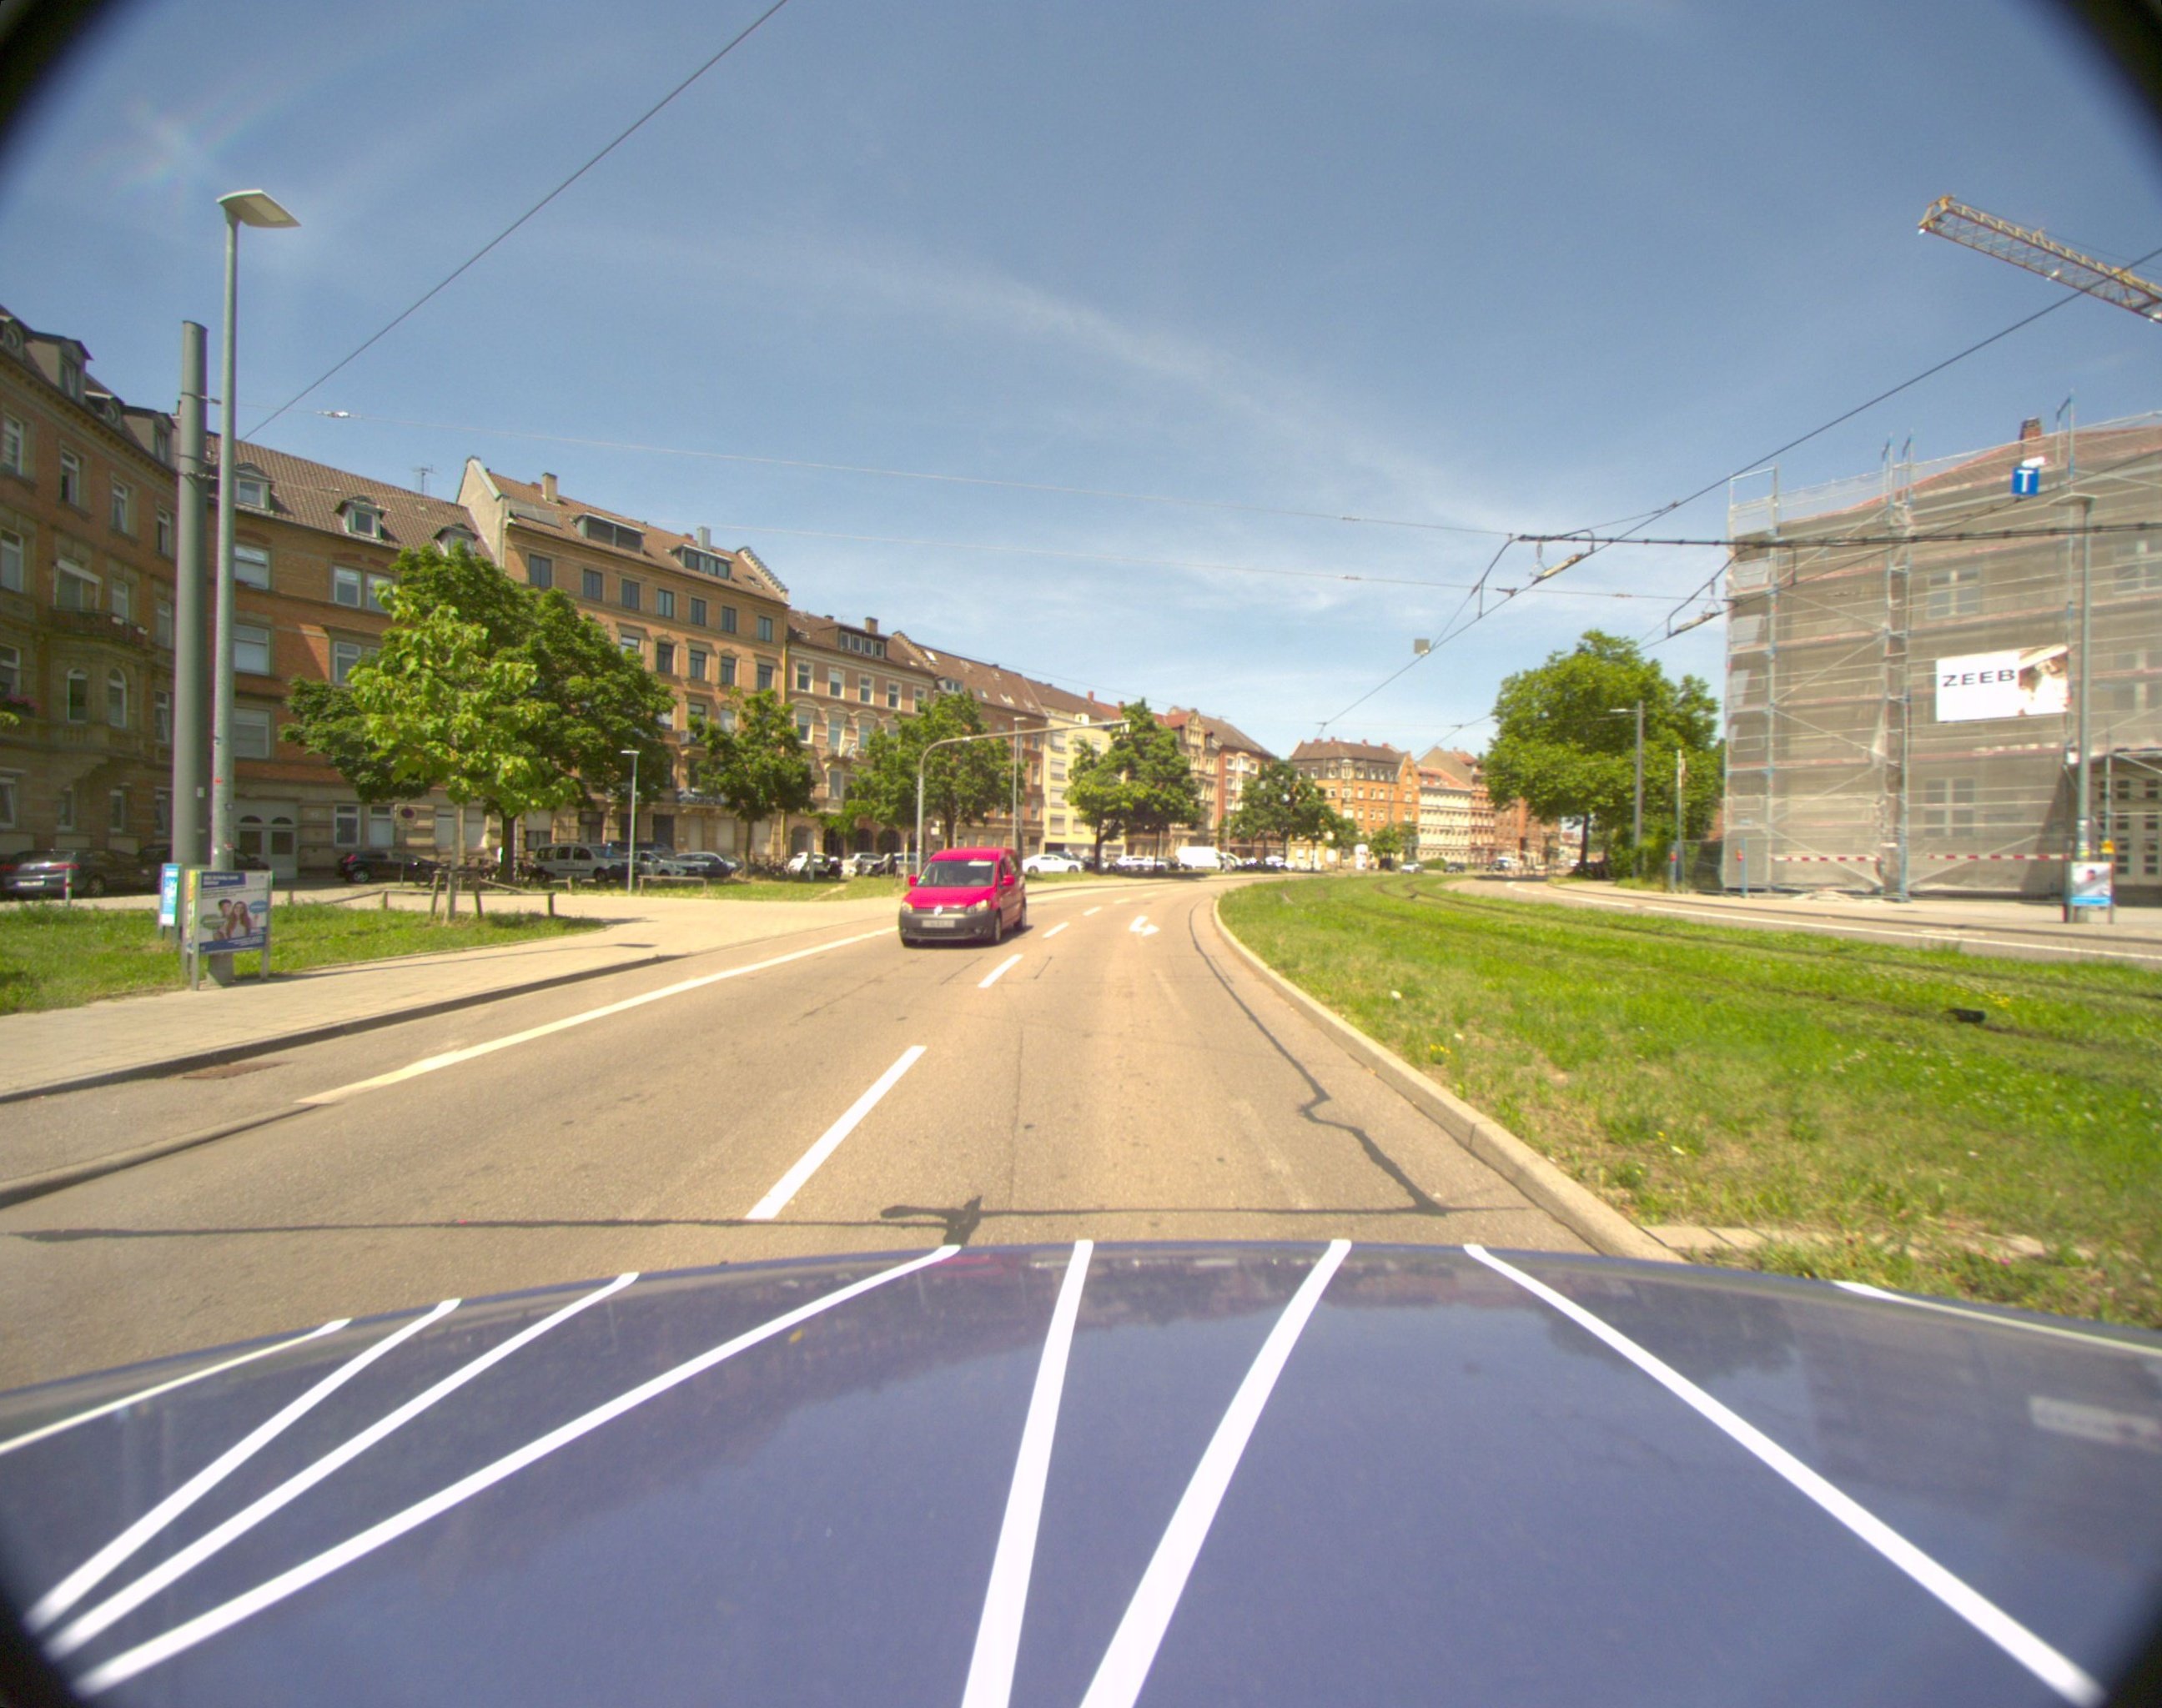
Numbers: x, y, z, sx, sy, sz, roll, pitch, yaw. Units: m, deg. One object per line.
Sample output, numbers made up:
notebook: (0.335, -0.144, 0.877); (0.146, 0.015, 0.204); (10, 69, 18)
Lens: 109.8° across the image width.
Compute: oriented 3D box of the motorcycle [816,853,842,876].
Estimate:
motorcycle: (-14.345, 0.592, 43.189); (0.814, 1.229, 2.080); (0, 0, -35)

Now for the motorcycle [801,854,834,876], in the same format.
motorcycle: (-13.356, 0.549, 38.479); (1.823, 1.113, 0.529); (-1, 0, 33)

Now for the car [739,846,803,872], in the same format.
car: (-17.035, 0.309, 41.659); (1.961, 1.368, 3.989); (0, -1, -43)

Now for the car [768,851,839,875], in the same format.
car: (-18.325, 0.569, 50.321); (1.837, 1.521, 4.009); (-1, -1, 41)

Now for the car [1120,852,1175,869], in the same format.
car: (5.765, 0.565, 66.584); (4.688, 1.419, 1.973); (-1, -1, 3)

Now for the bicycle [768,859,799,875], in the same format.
bicycle: (-15.140, 0.653, 38.700); (1.457, 0.800, 0.498); (0, 0, -16)

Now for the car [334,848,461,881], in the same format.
car: (-30.763, 0.470, 34.291); (1.772, 1.411, 4.009); (-1, -1, 38)

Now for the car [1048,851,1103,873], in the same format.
car: (-0.404, 0.607, 59.792); (3.993, 1.652, 1.974); (-1, 0, 12)

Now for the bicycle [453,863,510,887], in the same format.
bicycle: (-23.792, 0.847, 30.162); (2.047, 0.930, 0.509); (-1, 0, 9)

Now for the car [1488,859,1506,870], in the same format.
car: (62.602, 1.580, 114.313); (1.796, 1.564, 4.009); (-1, -1, 38)

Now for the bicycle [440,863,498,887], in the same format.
bicycle: (-23.838, 0.816, 29.615); (2.047, 0.930, 0.509); (-1, 0, 9)

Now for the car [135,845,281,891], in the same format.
car: (-31.539, 0.491, 27.635); (1.779, 1.520, 4.075); (0, -1, -21)

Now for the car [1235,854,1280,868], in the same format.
car: (19.388, 0.733, 83.429); (4.624, 1.488, 1.968); (-1, -1, 15)

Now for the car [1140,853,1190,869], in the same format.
car: (7.670, 0.650, 69.393); (4.427, 1.330, 1.973); (-1, -1, 3)

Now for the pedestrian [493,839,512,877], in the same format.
pedestrian: (-28.318, 0.204, 37.193); (0.452, 1.808, 0.604); (-1, 0, 39)

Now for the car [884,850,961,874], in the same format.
car: (-9.745, 0.511, 46.826); (4.340, 1.368, 1.584); (-1, 0, 14)

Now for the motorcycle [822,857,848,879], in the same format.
motorcycle: (-12.674, 0.719, 39.117); (1.521, 1.113, 0.479); (-1, 0, 39)

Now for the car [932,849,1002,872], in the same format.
car: (-7.368, 0.434, 49.196); (4.085, 1.461, 1.800); (-1, -1, 12)

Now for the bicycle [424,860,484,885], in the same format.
bicycle: (-23.848, 0.703, 28.911); (2.047, 0.930, 0.509); (-1, 0, 9)

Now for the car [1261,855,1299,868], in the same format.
car: (22.440, 0.886, 85.571); (3.991, 1.391, 1.826); (-1, -1, 18)

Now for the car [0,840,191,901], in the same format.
car: (-28.515, 0.460, 22.062); (1.697, 1.615, 4.123); (0, -1, -21)

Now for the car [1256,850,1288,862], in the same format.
car: (31.537, 0.343, 125.424); (4.841, 1.926, 2.171); (-1, -1, 29)

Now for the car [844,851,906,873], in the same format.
car: (-14.786, 0.573, 54.619); (1.837, 1.521, 4.009); (-1, -1, 37)

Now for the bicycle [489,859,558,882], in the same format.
bicycle: (-23.026, 0.671, 31.399); (2.426, 0.930, 0.508); (0, 0, -4)

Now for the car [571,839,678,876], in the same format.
car: (-25.042, 0.200, 41.820); (1.920, 1.892, 4.664); (-1, -1, 40)

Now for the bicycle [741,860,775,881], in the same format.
bicycle: (-14.971, 0.743, 35.228); (1.373, 0.941, 0.475); (0, 0, -30)

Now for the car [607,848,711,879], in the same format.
car: (-19.315, 0.435, 34.865); (3.993, 1.324, 1.761); (-1, -1, 12)

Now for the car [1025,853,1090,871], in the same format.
car: (-1.753, 0.597, 57.068); (4.785, 1.305, 2.149); (-1, -1, -2)

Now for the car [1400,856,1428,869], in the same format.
car: (38.690, 0.983, 88.274); (1.796, 1.564, 4.009); (-1, -1, 41)

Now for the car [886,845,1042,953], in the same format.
car: (-2.134, 0.802, 15.490); (1.858, 1.823, 5.169); (-1, -1, 6)

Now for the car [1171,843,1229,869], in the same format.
car: (11.833, 0.199, 75.845); (5.546, 2.446, 2.239); (-1, 0, 3)

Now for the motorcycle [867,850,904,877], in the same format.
motorcycle: (-10.427, 0.488, 40.621); (0.675, 1.405, 1.860); (2, 1, 41)

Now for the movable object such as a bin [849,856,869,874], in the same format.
movable object such as a bin: (-12.032, 0.586, 41.231); (0.703, 0.931, 0.986); (0, -1, -39)

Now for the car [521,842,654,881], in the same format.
car: (-21.104, 0.343, 32.541); (4.866, 1.591, 1.838); (-1, 0, 12)

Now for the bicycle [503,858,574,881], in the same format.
bicycle: (-21.957, 0.628, 30.793); (2.426, 0.930, 0.508); (-1, 0, -4)

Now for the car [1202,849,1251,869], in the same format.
car: (15.041, 0.562, 78.494); (4.840, 1.961, 2.078); (-1, 0, 11)

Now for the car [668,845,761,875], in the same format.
car: (-17.884, 0.307, 37.125); (3.862, 1.424, 1.609); (-1, 0, 11)

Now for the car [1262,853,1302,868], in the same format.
car: (23.388, 0.747, 88.331); (4.403, 1.622, 2.003); (-1, -1, 18)

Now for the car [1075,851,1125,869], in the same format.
car: (1.583, 0.511, 61.696); (3.996, 1.392, 1.713); (-1, 0, 3)

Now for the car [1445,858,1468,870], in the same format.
car: (49.453, 1.309, 100.035); (1.796, 1.564, 4.009); (-1, -1, 41)
